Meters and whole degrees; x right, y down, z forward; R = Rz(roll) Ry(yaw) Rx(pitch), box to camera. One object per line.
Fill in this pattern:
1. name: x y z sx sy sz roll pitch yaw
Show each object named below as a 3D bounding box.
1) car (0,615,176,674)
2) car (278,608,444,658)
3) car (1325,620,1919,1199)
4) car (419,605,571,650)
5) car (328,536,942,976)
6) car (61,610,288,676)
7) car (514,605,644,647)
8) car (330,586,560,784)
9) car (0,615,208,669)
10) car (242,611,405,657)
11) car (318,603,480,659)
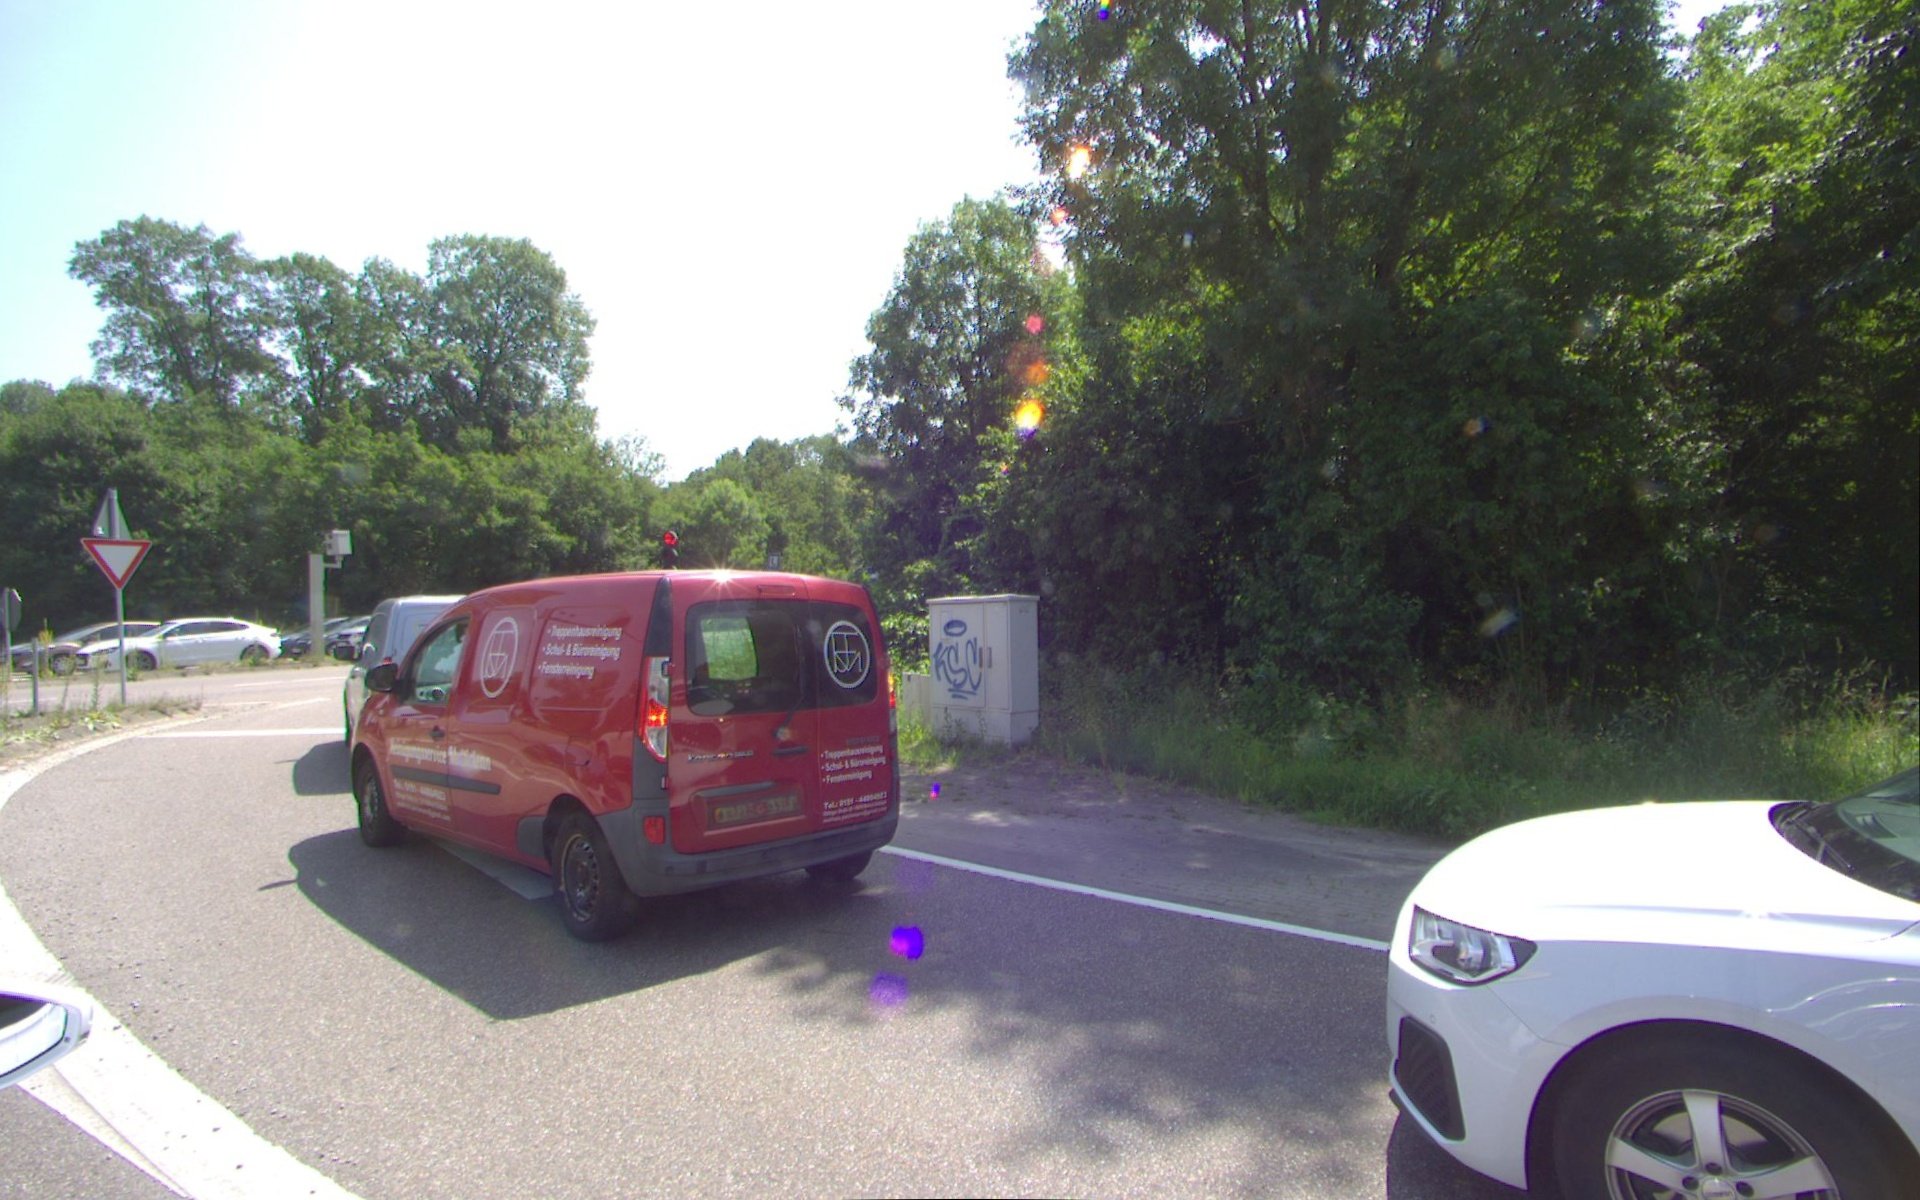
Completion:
1. car: -24.889 1.192 28.113 1.965 1.466 4.086 -1 0 29
2. car: -20.479 1.101 34.428 2.092 1.555 4.411 -2 0 31
3. car: 3.004 0.789 2.080 3.946 1.453 1.686 -1 -3 35
4. car: -18.226 1.047 39.506 2.107 1.554 5.118 -2 0 31
5. car: -2.329 0.705 6.380 4.447 1.846 1.782 -1 -2 43
6. car: -21.060 1.098 27.064 1.970 1.555 4.413 -1 0 30
7. car: -14.471 0.973 38.264 1.946 1.433 4.321 -1 0 32
8. car: -5.932 0.794 11.279 1.740 1.797 4.084 -1 0 -35
9. car: -26.967 1.263 31.508 1.992 1.518 4.922 -2 -1 32
10. car: -23.292 1.207 36.835 2.082 1.518 4.608 -1 0 31
11. car: -18.107 0.956 32.513 1.971 1.681 4.164 -1 0 31
